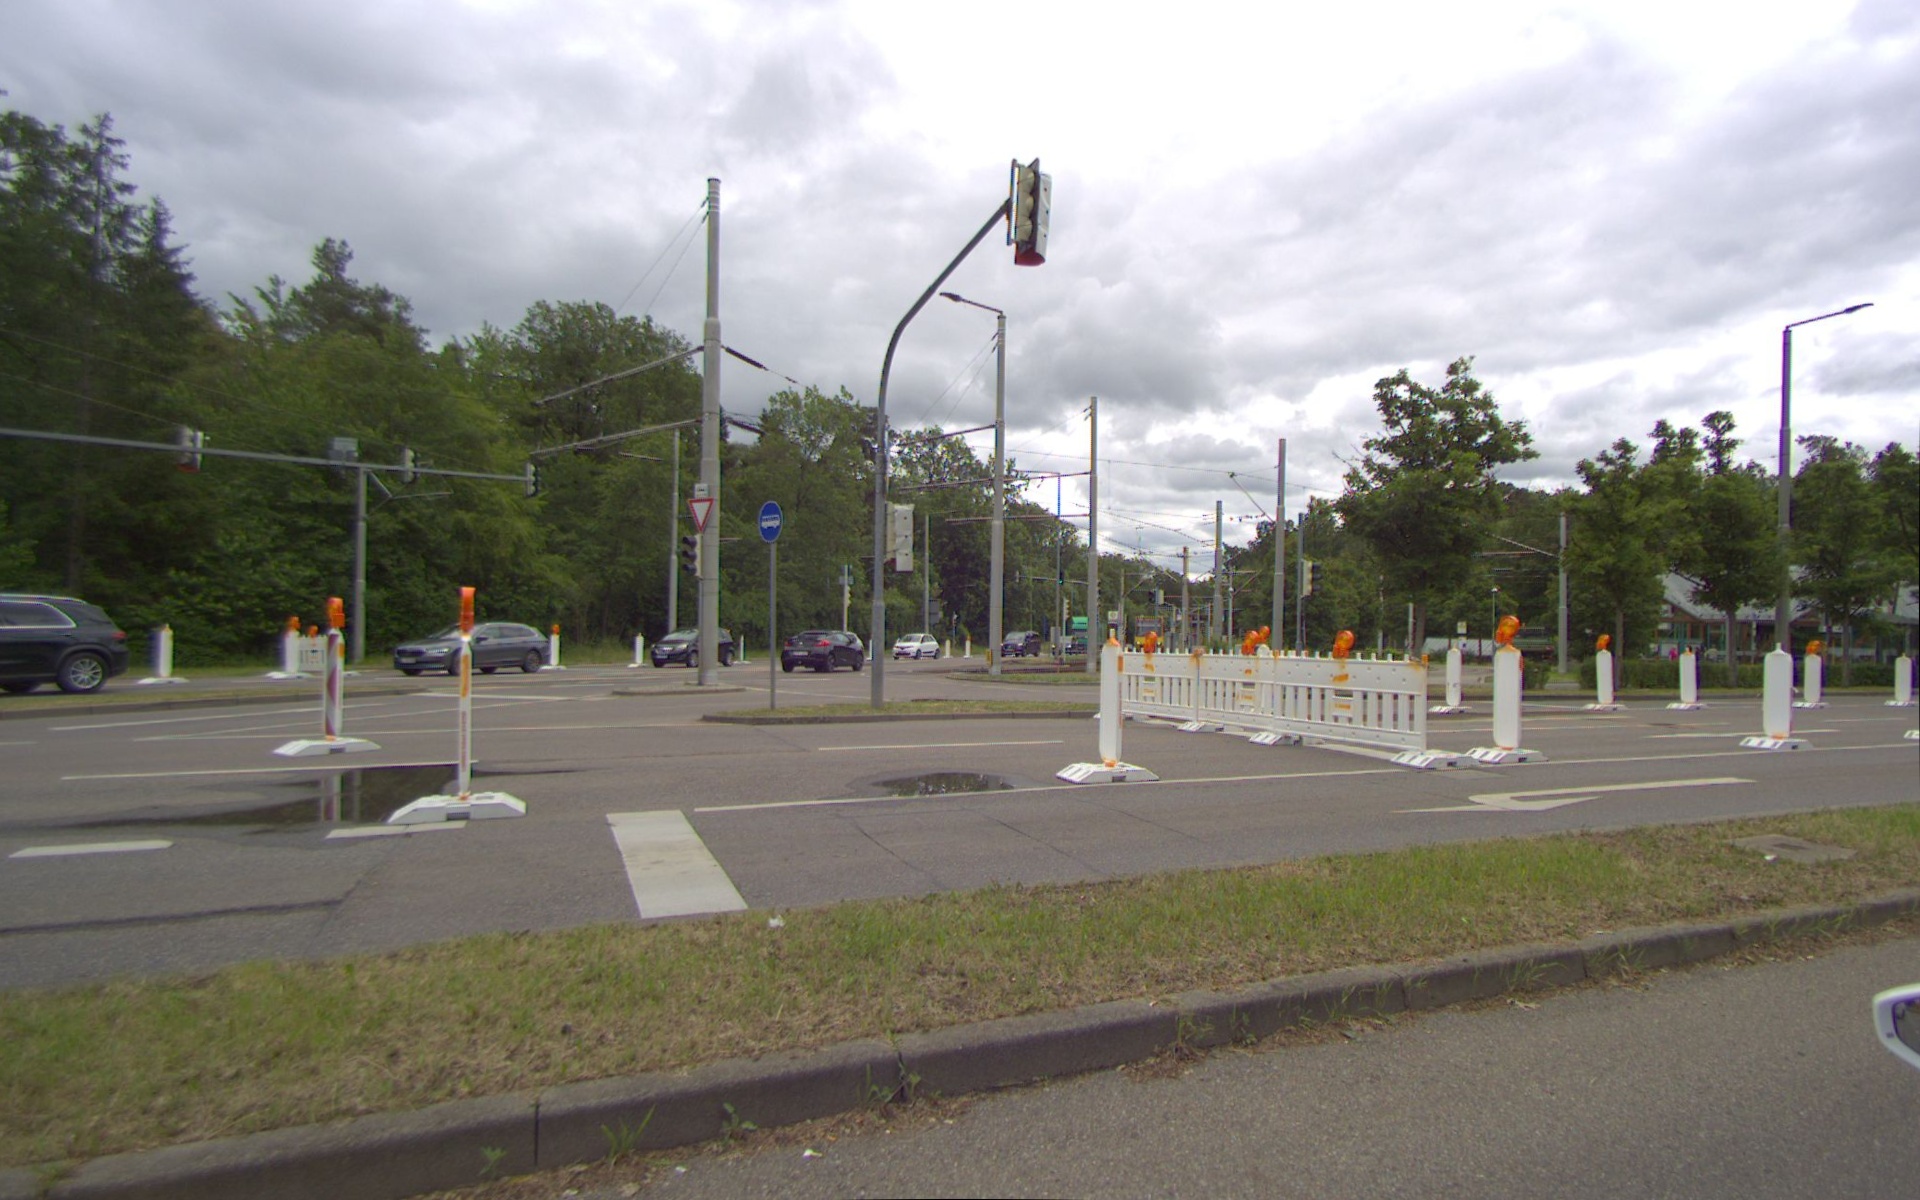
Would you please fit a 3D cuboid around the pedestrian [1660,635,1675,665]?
[{"bbox_3d":[38.966,2.758,55.294,0.482,1.647,0.562,1,-1,10],"label":"pedestrian"}]

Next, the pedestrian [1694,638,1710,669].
[{"bbox_3d":[40.791,2.929,55.235,0.482,1.647,0.562,1,-1,10],"label":"pedestrian"}]

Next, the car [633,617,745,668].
[{"bbox_3d":[-10.594,1.658,39.629,1.929,1.869,4.691,0,-2,19],"label":"car"}]

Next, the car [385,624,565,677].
[{"bbox_3d":[-13.859,1.415,29.070,1.929,1.379,4.691,0,-2,19],"label":"car"}]

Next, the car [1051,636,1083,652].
[{"bbox_3d":[9.587,3.949,90.040,1.929,1.379,4.311,0,-2,19],"label":"car"}]

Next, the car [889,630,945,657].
[{"bbox_3d":[-2.569,2.628,61.121,1.929,1.561,4.397,0,-2,19],"label":"car"}]

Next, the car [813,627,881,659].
[{"bbox_3d":[-5.958,2.292,53.687,1.929,1.628,4.311,0,-2,19],"label":"car"}]

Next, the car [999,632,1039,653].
[{"bbox_3d":[4.482,3.188,76.072,1.929,1.560,4.311,0,-2,19],"label":"car"}]

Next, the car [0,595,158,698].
[{"bbox_3d":[-17.370,0.805,17.636,1.929,1.773,4.847,0,-2,18],"label":"car"}]

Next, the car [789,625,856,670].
[{"bbox_3d":[-4.449,1.543,32.981,1.744,1.379,3.477,0,-2,0],"label":"car"}]
